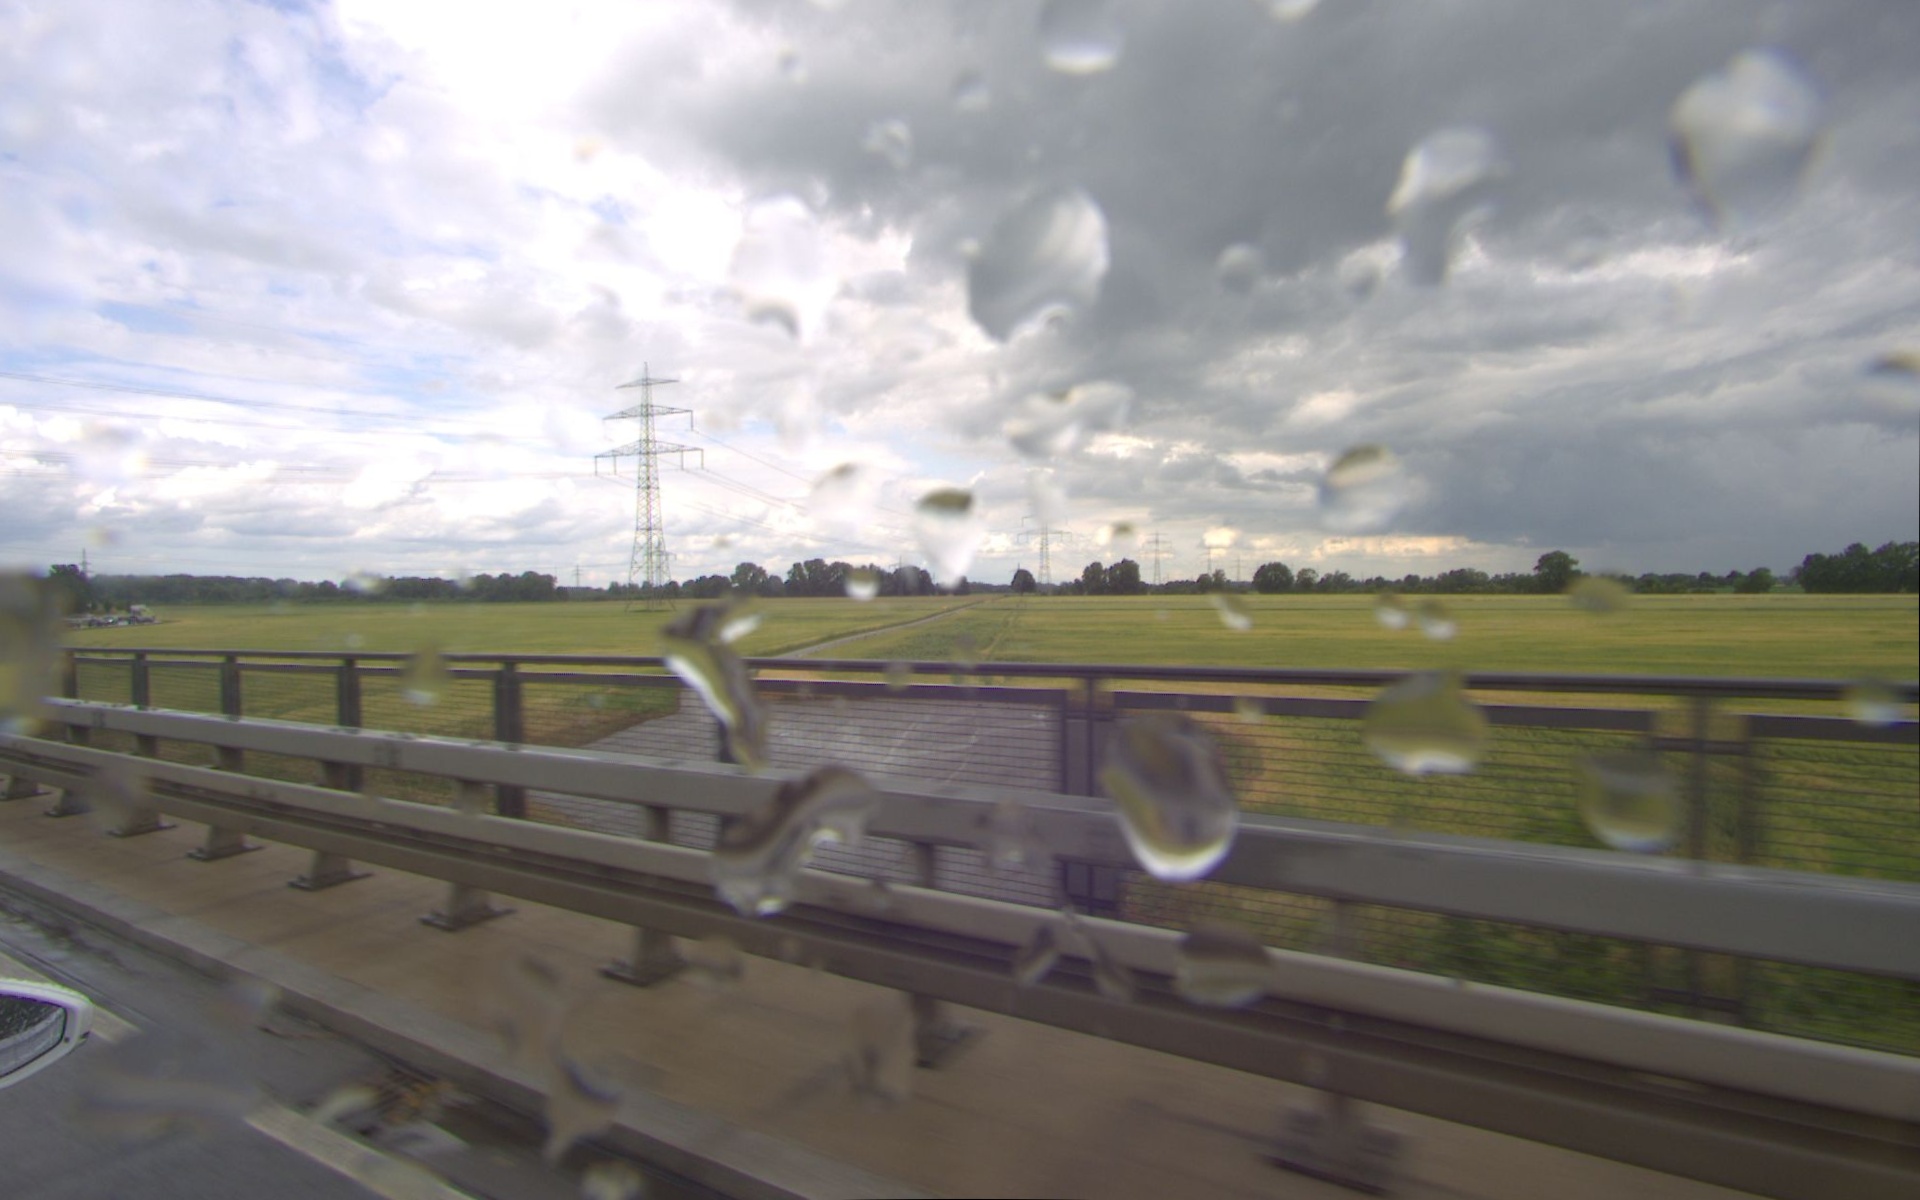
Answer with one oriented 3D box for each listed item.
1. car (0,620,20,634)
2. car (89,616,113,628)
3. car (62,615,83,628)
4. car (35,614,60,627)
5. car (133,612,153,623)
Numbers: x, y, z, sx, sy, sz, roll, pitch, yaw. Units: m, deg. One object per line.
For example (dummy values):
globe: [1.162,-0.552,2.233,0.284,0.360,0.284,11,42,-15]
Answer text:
car: [-139.003,3.995,146.060,1.972,2.039,3.980,1,-2,-30]
car: [-152.895,3.945,178.247,1.967,2.039,3.990,0,-2,-22]
car: [-148.404,3.583,167.458,1.972,2.039,3.979,1,-2,-31]
car: [-145.123,3.266,159.303,2.202,2.039,3.979,1,-2,-31]
car: [-161.717,3.411,198.171,1.737,2.040,3.992,0,-1,-18]
